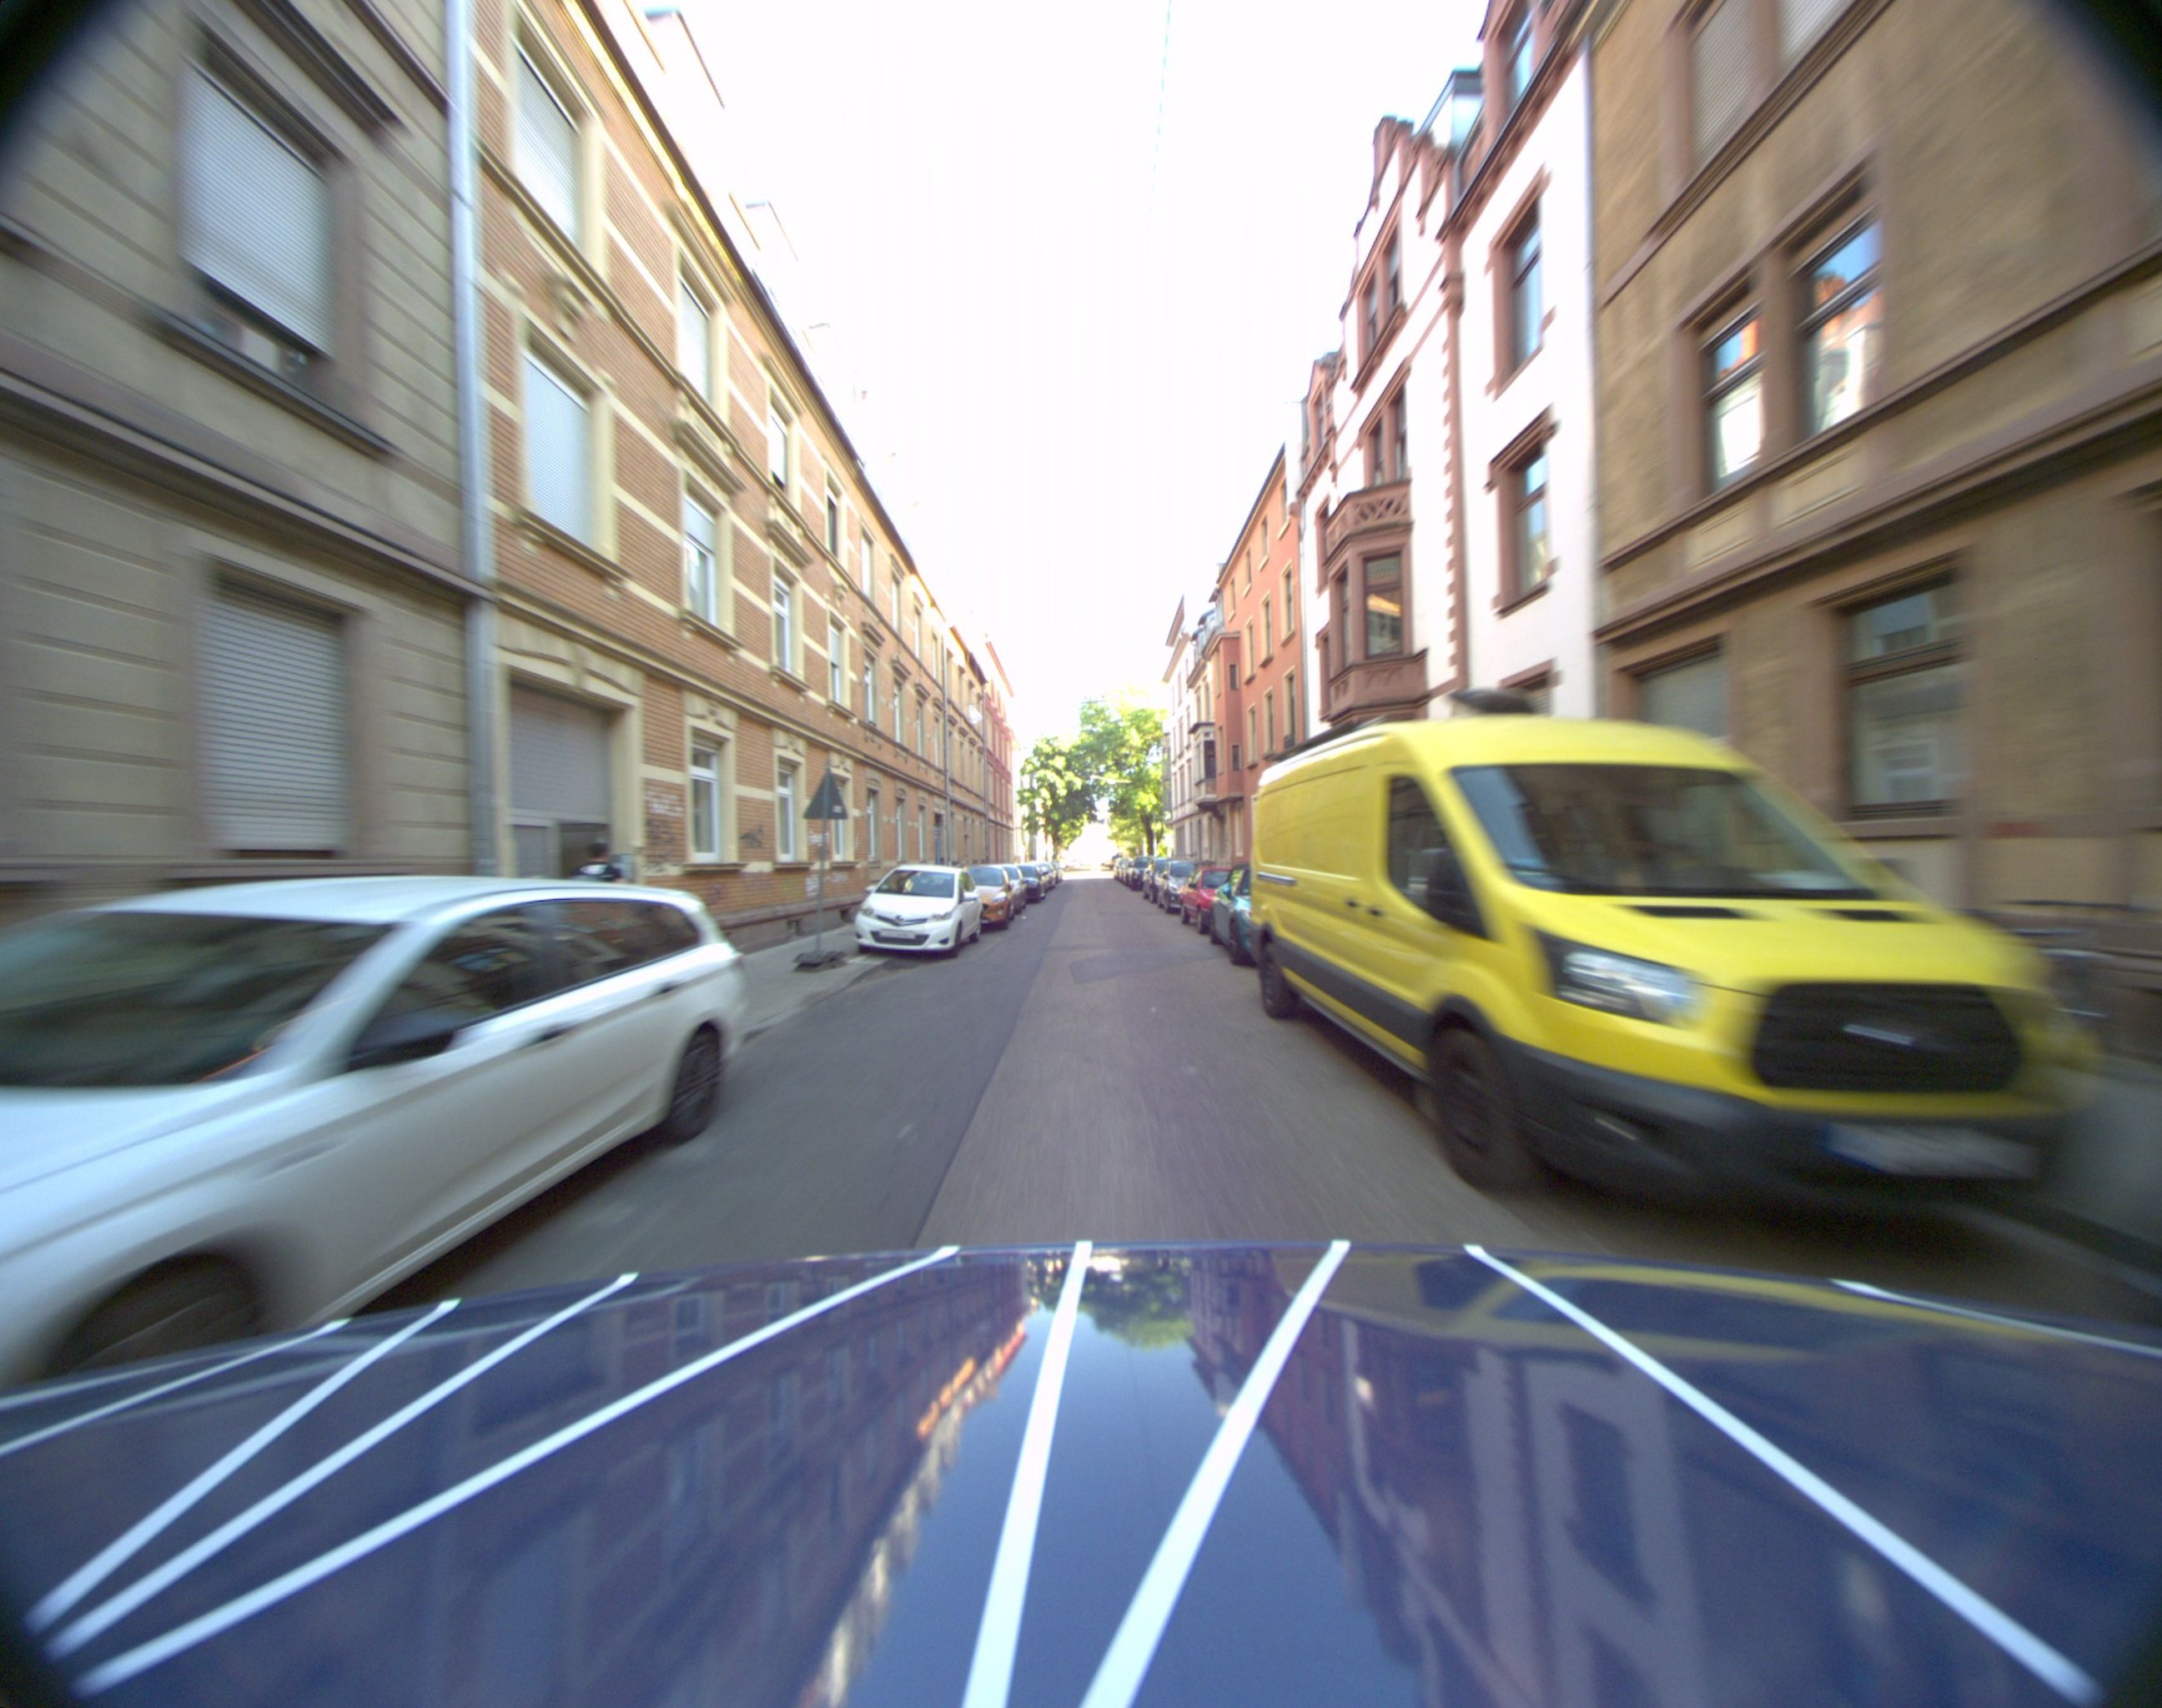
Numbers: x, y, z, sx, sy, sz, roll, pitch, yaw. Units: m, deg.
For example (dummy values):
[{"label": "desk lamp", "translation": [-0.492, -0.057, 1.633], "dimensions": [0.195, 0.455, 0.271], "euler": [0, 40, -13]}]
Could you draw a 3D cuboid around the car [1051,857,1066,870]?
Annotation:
[{"label": "car", "translation": [-2.685, 1.141, 91.212], "dimensions": [1.685, 1.531, 4.134], "euler": [-1, 0, 0]}]

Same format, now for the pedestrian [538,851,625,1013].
[{"label": "pedestrian", "translation": [-5.374, 0.779, 8.167], "dimensions": [0.657, 1.621, 0.878], "euler": [-1, 2, -41]}]

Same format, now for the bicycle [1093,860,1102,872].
[{"label": "bicycle", "translation": [1.607, 1.127, 73.948], "dimensions": [0.810, 1.136, 2.547], "euler": [-2, 0, 0]}]

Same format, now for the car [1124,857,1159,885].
[{"label": "car", "translation": [3.316, 0.922, 42.302], "dimensions": [1.647, 1.447, 3.839], "euler": [1, 0, 0]}]

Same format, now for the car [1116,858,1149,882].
[{"label": "car", "translation": [3.233, 0.980, 48.418], "dimensions": [1.786, 1.395, 3.742], "euler": [-2, 0, -1]}]

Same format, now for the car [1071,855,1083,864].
[{"label": "car", "translation": [-0.657, 0.925, 125.850], "dimensions": [1.812, 1.412, 4.000], "euler": [-2, 0, 1]}]

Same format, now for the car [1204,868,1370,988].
[{"label": "car", "translation": [3.026, 1.011, 11.963], "dimensions": [1.722, 1.404, 3.898], "euler": [3, 0, 4]}]

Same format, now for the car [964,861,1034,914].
[{"label": "car", "translation": [-2.444, 0.976, 23.607], "dimensions": [1.730, 1.409, 4.093], "euler": [2, 0, -1]}]

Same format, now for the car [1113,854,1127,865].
[{"label": "car", "translation": [5.395, 0.699, 105.088], "dimensions": [1.731, 1.455, 3.844], "euler": [-1, 0, 1]}]

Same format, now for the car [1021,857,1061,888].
[{"label": "car", "translation": [-2.058, 0.946, 40.476], "dimensions": [1.766, 1.475, 4.402], "euler": [-2, 0, 1]}]

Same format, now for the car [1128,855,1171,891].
[{"label": "car", "translation": [3.275, 0.878, 36.867], "dimensions": [1.765, 1.608, 4.189], "euler": [-2, 0, 1]}]

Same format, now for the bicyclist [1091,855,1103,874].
[{"label": "bicyclist", "translation": [1.551, 1.006, 73.901], "dimensions": [0.934, 1.809, 1.077], "euler": [-2, 0, -4]}]

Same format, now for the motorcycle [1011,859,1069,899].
[{"label": "motorcycle", "translation": [-1.762, 1.070, 32.505], "dimensions": [2.229, 1.527, 0.888], "euler": [-4, 0, -25]}]

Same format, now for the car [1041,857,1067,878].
[{"label": "car", "translation": [-1.965, 0.973, 56.363], "dimensions": [1.709, 1.454, 3.970], "euler": [-2, 0, 1]}]

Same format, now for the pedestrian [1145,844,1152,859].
[{"label": "pedestrian", "translation": [8.019, -0.256, 90.310], "dimensions": [0.804, 1.736, 1.006], "euler": [-2, 0, 1]}]

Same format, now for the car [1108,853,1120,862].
[{"label": "car", "translation": [5.675, 0.599, 131.402], "dimensions": [1.755, 1.464, 4.000], "euler": [-3, 0, 1]}]

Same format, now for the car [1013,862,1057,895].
[{"label": "car", "translation": [-2.082, 1.091, 35.621], "dimensions": [1.696, 1.398, 3.992], "euler": [-2, 0, 1]}]

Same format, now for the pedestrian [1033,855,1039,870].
[{"label": "pedestrian", "translation": [-5.692, 1.115, 95.964], "dimensions": [0.529, 1.834, 0.707], "euler": [-2, 0, 2]}]

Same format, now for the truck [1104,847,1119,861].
[{"label": "truck", "translation": [5.975, -0.002, 149.182], "dimensions": [2.395, 2.641, 7.092], "euler": [-2, 0, -1]}]

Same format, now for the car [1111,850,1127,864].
[{"label": "car", "translation": [5.507, 0.481, 110.571], "dimensions": [1.998, 1.946, 5.042], "euler": [1, 0, 1]}]

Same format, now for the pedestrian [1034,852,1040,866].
[{"label": "pedestrian", "translation": [-5.619, 0.630, 96.871], "dimensions": [0.706, 1.834, 0.840], "euler": [-2, 0, -5]}]

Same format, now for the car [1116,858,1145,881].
[{"label": "car", "translation": [3.414, 1.031, 52.884], "dimensions": [1.785, 1.474, 3.743], "euler": [-2, 0, 1]}]

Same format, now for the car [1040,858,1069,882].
[{"label": "car", "translation": [-1.743, 1.049, 51.713], "dimensions": [1.681, 1.494, 4.069], "euler": [-2, 0, 1]}]

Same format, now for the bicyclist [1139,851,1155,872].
[{"label": "bicyclist", "translation": [6.425, 0.730, 73.586], "dimensions": [0.969, 1.904, 1.136], "euler": [-2, 1, -40]}]

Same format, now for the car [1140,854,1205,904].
[{"label": "car", "translation": [3.209, 0.838, 27.400], "dimensions": [1.786, 1.596, 4.069], "euler": [-2, 0, -1]}]

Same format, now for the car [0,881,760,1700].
[{"label": "car", "translation": [-3.087, 0.964, 2.954], "dimensions": [1.758, 1.509, 4.443], "euler": [2, 0, 0]}]

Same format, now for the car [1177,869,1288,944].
[{"label": "car", "translation": [3.125, 1.042, 16.314], "dimensions": [1.622, 1.319, 3.612], "euler": [1, 0, 0]}]

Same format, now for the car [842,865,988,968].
[{"label": "car", "translation": [-2.835, 1.010, 13.893], "dimensions": [1.725, 1.472, 4.082], "euler": [2, 0, 0]}]

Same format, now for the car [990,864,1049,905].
[{"label": "car", "translation": [-2.253, 1.101, 29.013], "dimensions": [1.782, 1.388, 4.317], "euler": [-2, 0, 1]}]

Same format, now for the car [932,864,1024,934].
[{"label": "car", "translation": [-2.433, 1.032, 18.862], "dimensions": [1.758, 1.437, 4.068], "euler": [2, 0, -1]}]

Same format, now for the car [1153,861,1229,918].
[{"label": "car", "translation": [3.111, 0.972, 22.174], "dimensions": [1.698, 1.466, 3.919], "euler": [1, 0, 1]}]

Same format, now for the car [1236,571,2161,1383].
[{"label": "car", "translation": [2.770, 0.388, 5.285], "dimensions": [2.180, 2.493, 5.878], "euler": [1, 0, 0]}]
